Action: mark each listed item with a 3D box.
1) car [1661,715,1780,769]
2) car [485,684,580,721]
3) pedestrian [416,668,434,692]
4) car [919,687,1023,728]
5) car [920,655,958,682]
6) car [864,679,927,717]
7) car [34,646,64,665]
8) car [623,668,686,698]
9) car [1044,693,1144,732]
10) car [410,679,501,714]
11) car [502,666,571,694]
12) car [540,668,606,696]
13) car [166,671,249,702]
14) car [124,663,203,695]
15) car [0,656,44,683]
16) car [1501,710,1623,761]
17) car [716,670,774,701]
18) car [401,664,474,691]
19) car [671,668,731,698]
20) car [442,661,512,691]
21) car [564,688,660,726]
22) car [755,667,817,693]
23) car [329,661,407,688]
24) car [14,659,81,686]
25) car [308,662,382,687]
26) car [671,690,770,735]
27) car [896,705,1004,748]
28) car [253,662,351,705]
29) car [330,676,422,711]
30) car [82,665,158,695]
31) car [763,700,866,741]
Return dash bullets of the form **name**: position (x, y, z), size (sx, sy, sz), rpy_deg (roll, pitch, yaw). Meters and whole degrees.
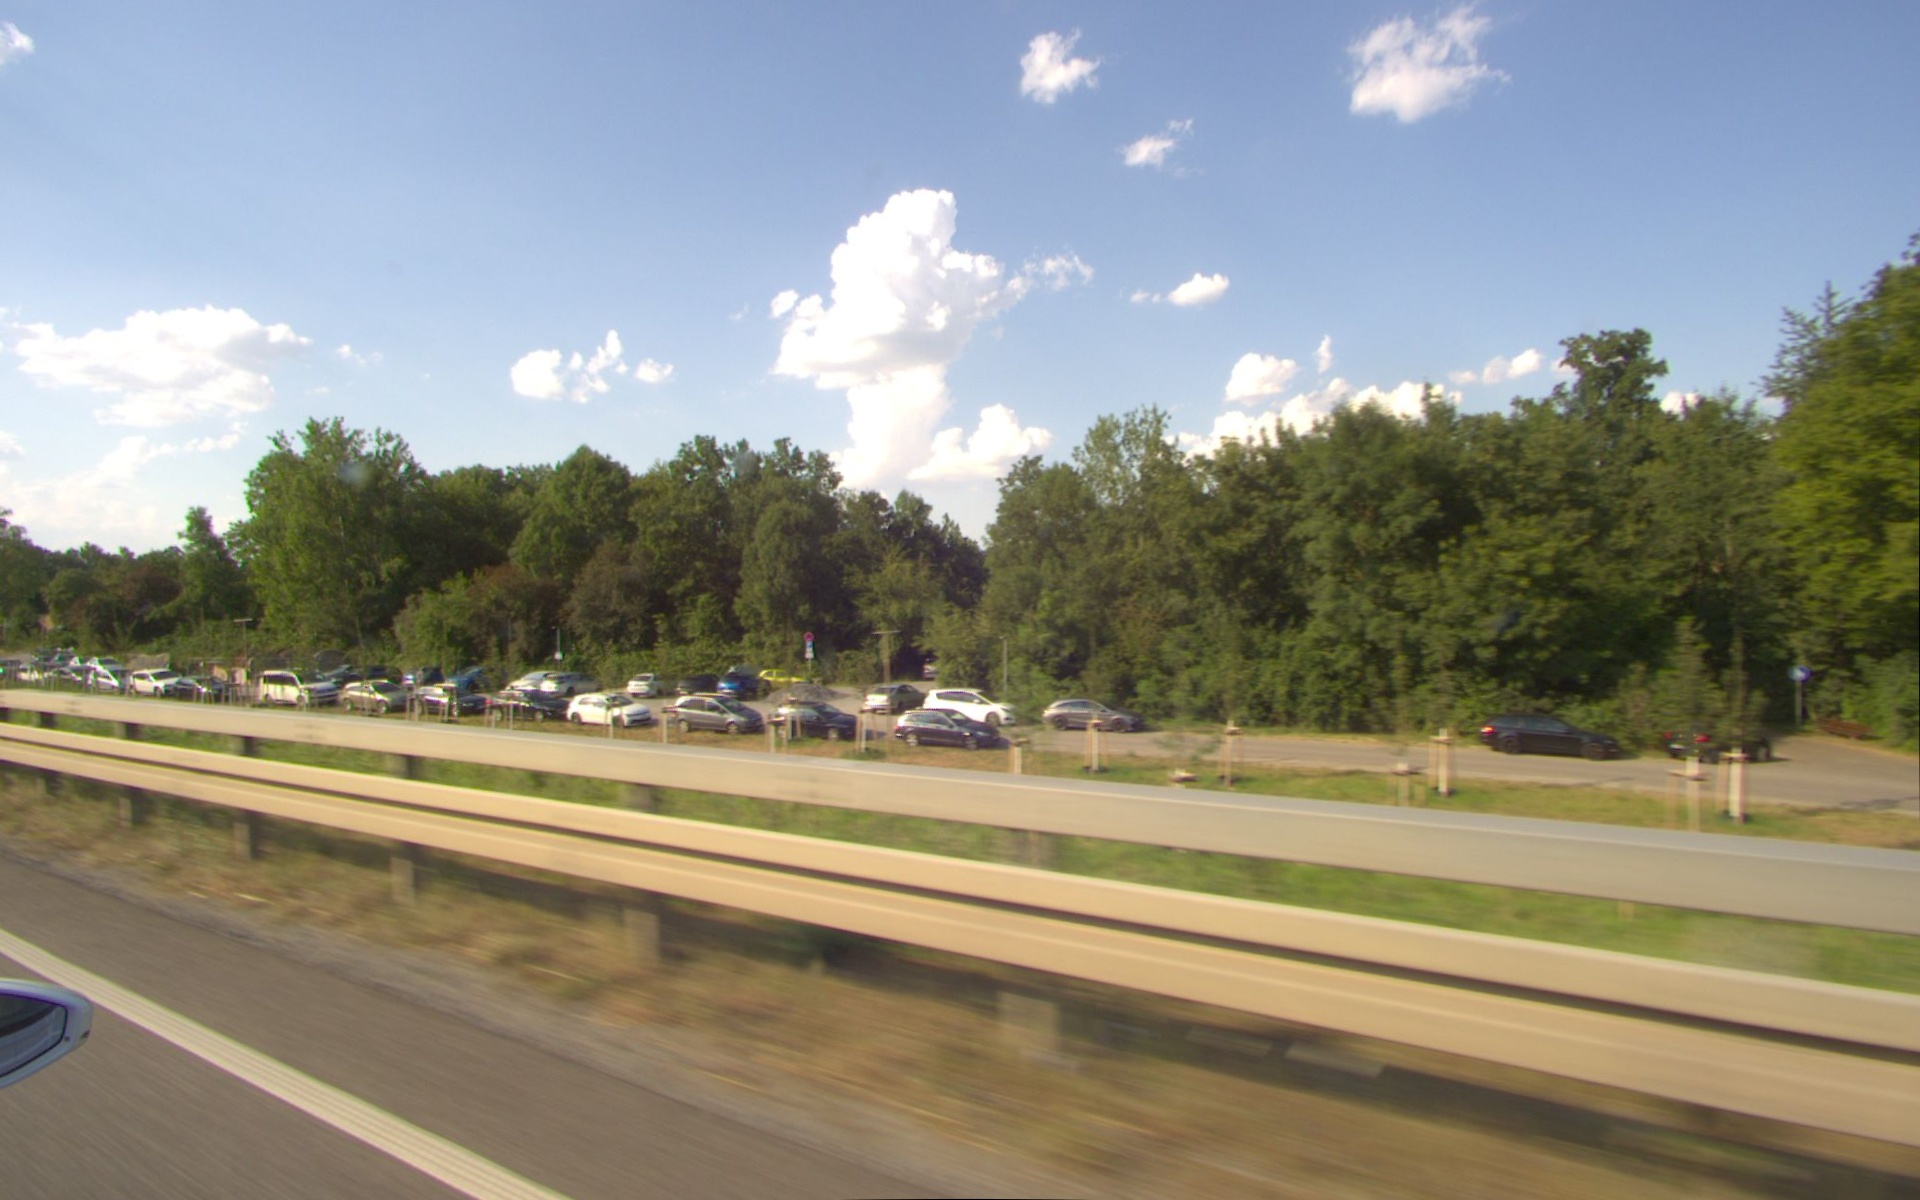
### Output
- **car**: position (27.193, 5.032, 35.840), size (3.620, 1.516, 1.656), rpy_deg (-1, 0, -19)
- **car**: position (-21.683, 5.182, 50.788), size (4.317, 1.503, 1.819), rpy_deg (0, 2, 19)
- **pedestrian**: position (-35.006, 5.224, 65.513), size (0.909, 1.491, 0.882), rpy_deg (-2, 3, -33)
- **car**: position (0.519, 5.014, 47.100), size (4.631, 1.688, 1.655), rpy_deg (-1, 0, 24)
- **car**: position (-1.503, 4.999, 73.432), size (1.588, 1.476, 4.238), rpy_deg (1, 3, 17)
- **car**: position (-3.306, 5.069, 52.405), size (1.590, 1.475, 4.234), rpy_deg (1, 1, 22)
- **car**: position (-83.371, 5.064, 91.671), size (1.686, 1.418, 4.746), rpy_deg (-3, 2, -38)
- **car**: position (-18.803, 5.098, 61.796), size (1.702, 1.475, 4.412), rpy_deg (1, 0, 13)
- **car**: position (5.957, 4.974, 44.604), size (4.150, 1.516, 1.656), rpy_deg (-1, 0, 21)
- **car**: position (-26.771, 5.097, 53.187), size (4.317, 1.503, 1.819), rpy_deg (0, 2, 19)
- **car**: position (-26.851, 5.051, 63.629), size (1.740, 1.517, 4.241), rpy_deg (1, -1, 17)
- **car**: position (-24.120, 5.095, 62.603), size (1.588, 1.474, 4.242), rpy_deg (0, -1, 17)
- **car**: position (-45.970, 5.252, 61.173), size (4.701, 1.503, 1.891), rpy_deg (1, 3, 23)
- **car**: position (-50.992, 5.030, 64.090), size (4.701, 1.581, 1.891), rpy_deg (1, 3, 23)
- **car**: position (-71.373, 5.207, 75.418), size (4.705, 1.581, 1.890), rpy_deg (1, 4, 26)
- **car**: position (22.227, 4.975, 37.113), size (3.772, 1.516, 1.652), rpy_deg (-1, 0, 30)
- **car**: position (-12.995, 5.124, 60.719), size (1.588, 1.475, 4.240), rpy_deg (1, 0, 17)
- **car**: position (-35.358, 5.234, 67.848), size (1.802, 1.625, 4.237), rpy_deg (0, -2, 22)
- **car**: position (-15.733, 5.011, 61.058), size (1.588, 1.475, 4.241), rpy_deg (1, 0, 17)
- **car**: position (-32.030, 4.998, 66.524), size (1.800, 1.765, 4.241), rpy_deg (1, -1, 17)
- **car**: position (-16.998, 5.200, 48.922), size (4.181, 1.503, 1.819), rpy_deg (0, 2, 19)
- **car**: position (-11.227, 5.158, 64.672), size (3.606, 1.476, 1.498), rpy_deg (0, 1, 12)
- **car**: position (-40.654, 5.087, 68.829), size (1.810, 1.509, 4.218), rpy_deg (3, 0, 38)
- **car**: position (-65.997, 5.225, 72.412), size (4.705, 1.581, 1.890), rpy_deg (1, 4, 26)
- **car**: position (-43.205, 5.211, 70.444), size (1.803, 1.509, 4.236), rpy_deg (0, -1, 23)
- **car**: position (-11.157, 5.199, 46.645), size (4.181, 1.681, 1.819), rpy_deg (0, 2, 19)
- **car**: position (-0.416, 5.254, 41.737), size (4.150, 1.516, 1.656), rpy_deg (-1, 0, 21)
- **car**: position (-38.003, 4.774, 57.819), size (5.288, 2.046, 2.118), rpy_deg (1, 4, 23)
- **car**: position (-32.095, 5.111, 54.988), size (4.701, 1.503, 1.891), rpy_deg (1, 3, 23)
- **car**: position (-55.820, 5.273, 66.517), size (4.701, 1.581, 1.891), rpy_deg (1, 3, 23)
- **car**: position (-6.444, 5.312, 44.388), size (4.181, 1.420, 1.819), rpy_deg (0, 2, 19)
